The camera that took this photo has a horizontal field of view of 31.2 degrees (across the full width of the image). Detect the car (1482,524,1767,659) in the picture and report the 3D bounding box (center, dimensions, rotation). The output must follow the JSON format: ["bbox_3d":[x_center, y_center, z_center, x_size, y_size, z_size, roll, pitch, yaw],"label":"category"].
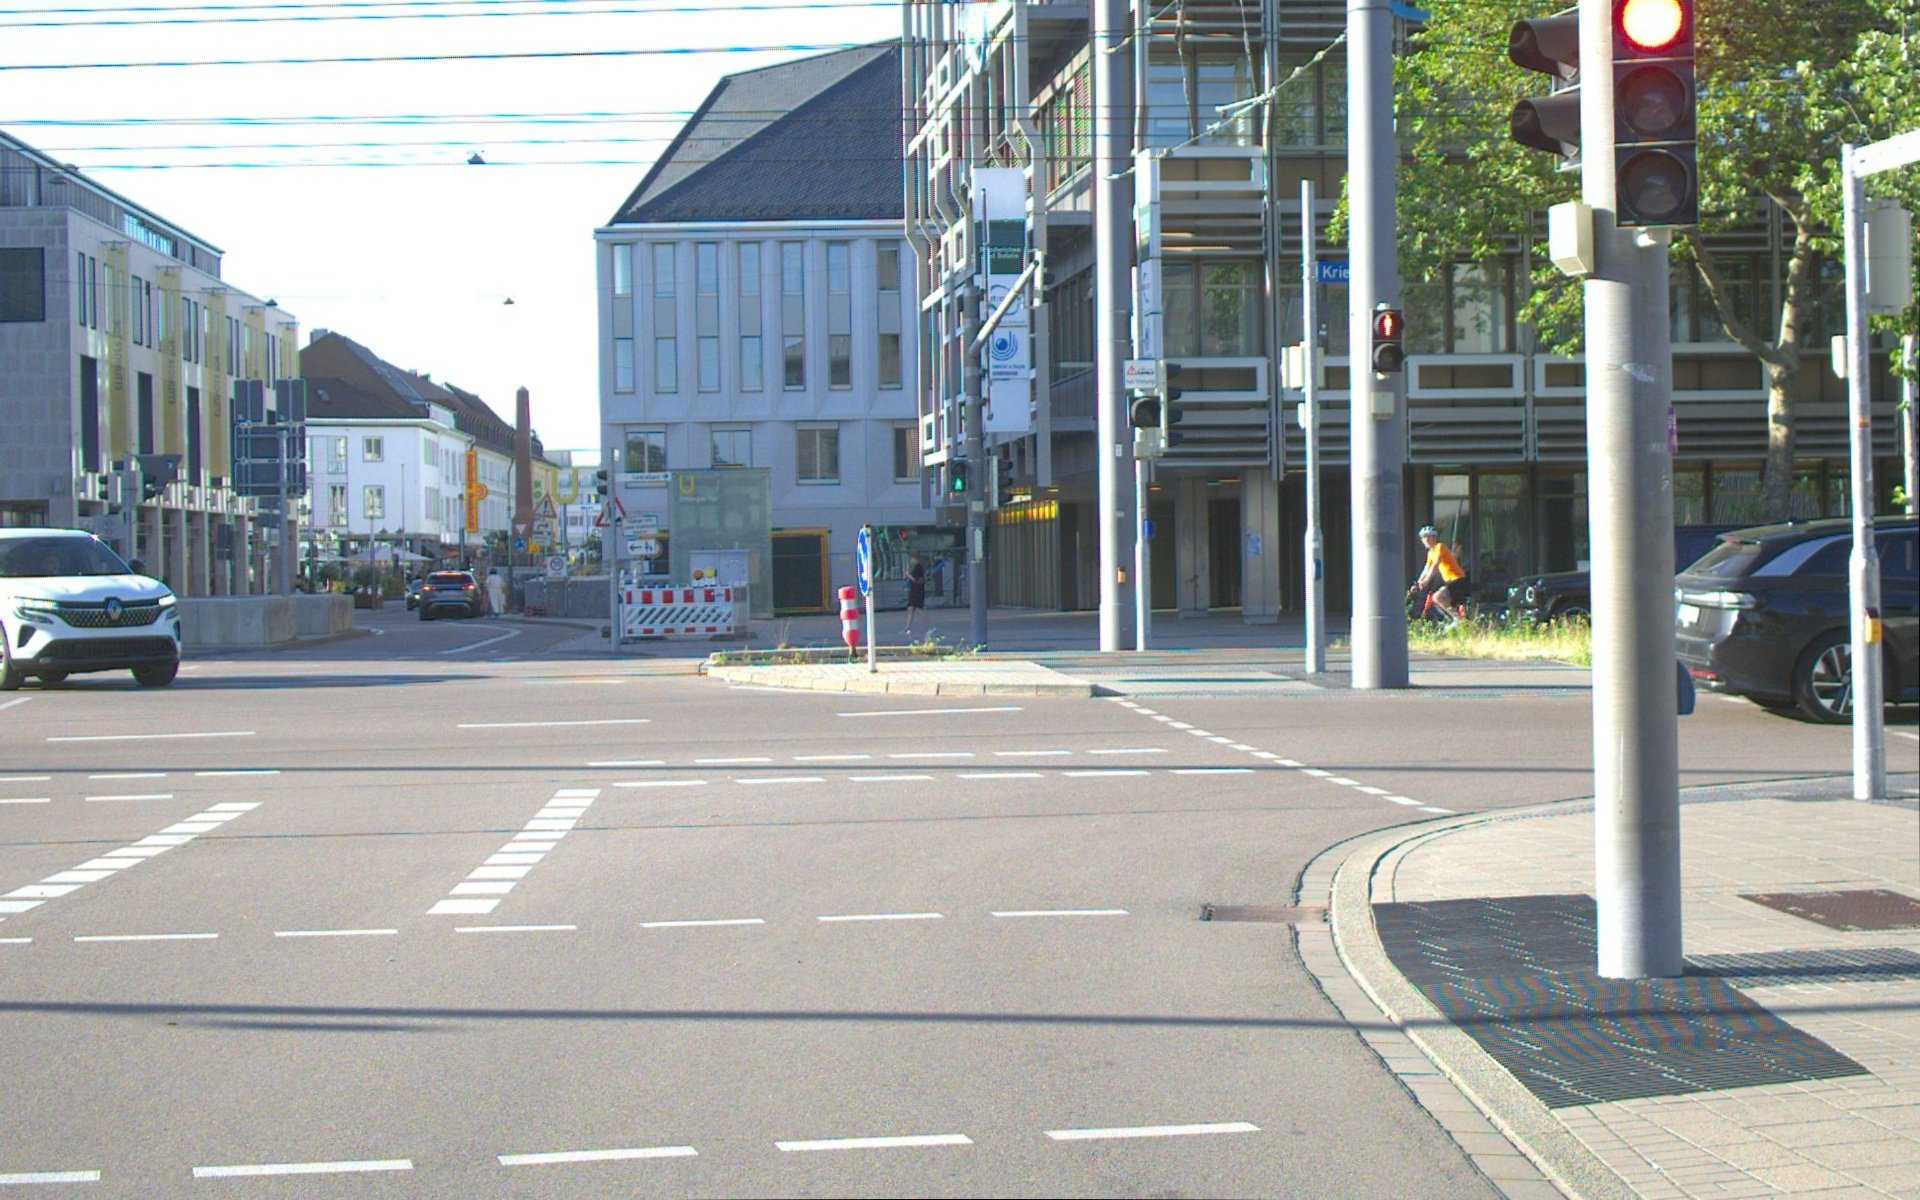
[{"bbox_3d":[10.351,-0.140,53.771,3.986,2.007,2.000,1,0,-3],"label":"car"}]

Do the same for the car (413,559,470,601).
[{"bbox_3d":[-21.628,-0.845,143.422,1.993,1.654,4.407,-2,1,-4],"label":"car"}]

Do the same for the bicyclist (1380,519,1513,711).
[{"bbox_3d":[6.668,0.194,47.134,1.567,2.571,0.932,-1,1,-9],"label":"bicyclist"}]

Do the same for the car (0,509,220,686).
[{"bbox_3d":[-9.351,-0.081,34.851,1.994,1.654,4.405,-2,2,-36],"label":"car"}]

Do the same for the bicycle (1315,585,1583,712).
[{"bbox_3d":[6.700,0.653,47.140,3.490,1.653,0.932,-1,1,-9],"label":"bicycle"}]

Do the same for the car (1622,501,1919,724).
[{"bbox_3d":[7.766,0.048,26.389,4.937,1.596,2.000,-1,2,-3],"label":"car"}]

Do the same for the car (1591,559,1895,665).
[{"bbox_3d":[11.500,0.161,50.655,3.986,1.503,1.868,0,1,-3],"label":"car"}]

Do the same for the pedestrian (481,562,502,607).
[{"bbox_3d":[-14.784,-0.490,108.525,0.609,1.406,0.570,-1,1,-6],"label":"pedestrian"}]

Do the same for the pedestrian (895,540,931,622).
[{"bbox_3d":[-0.955,-0.390,69.438,0.663,1.652,0.755,-1,1,-3],"label":"pedestrian"}]

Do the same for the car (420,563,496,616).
[{"bbox_3d":[-15.805,-0.346,108.415,2.199,1.601,4.327,-1,1,-6],"label":"car"}]

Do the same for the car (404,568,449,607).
[{"bbox_3d":[-25.447,-0.606,164.067,1.756,1.777,4.001,-1,1,-4],"label":"car"}]
